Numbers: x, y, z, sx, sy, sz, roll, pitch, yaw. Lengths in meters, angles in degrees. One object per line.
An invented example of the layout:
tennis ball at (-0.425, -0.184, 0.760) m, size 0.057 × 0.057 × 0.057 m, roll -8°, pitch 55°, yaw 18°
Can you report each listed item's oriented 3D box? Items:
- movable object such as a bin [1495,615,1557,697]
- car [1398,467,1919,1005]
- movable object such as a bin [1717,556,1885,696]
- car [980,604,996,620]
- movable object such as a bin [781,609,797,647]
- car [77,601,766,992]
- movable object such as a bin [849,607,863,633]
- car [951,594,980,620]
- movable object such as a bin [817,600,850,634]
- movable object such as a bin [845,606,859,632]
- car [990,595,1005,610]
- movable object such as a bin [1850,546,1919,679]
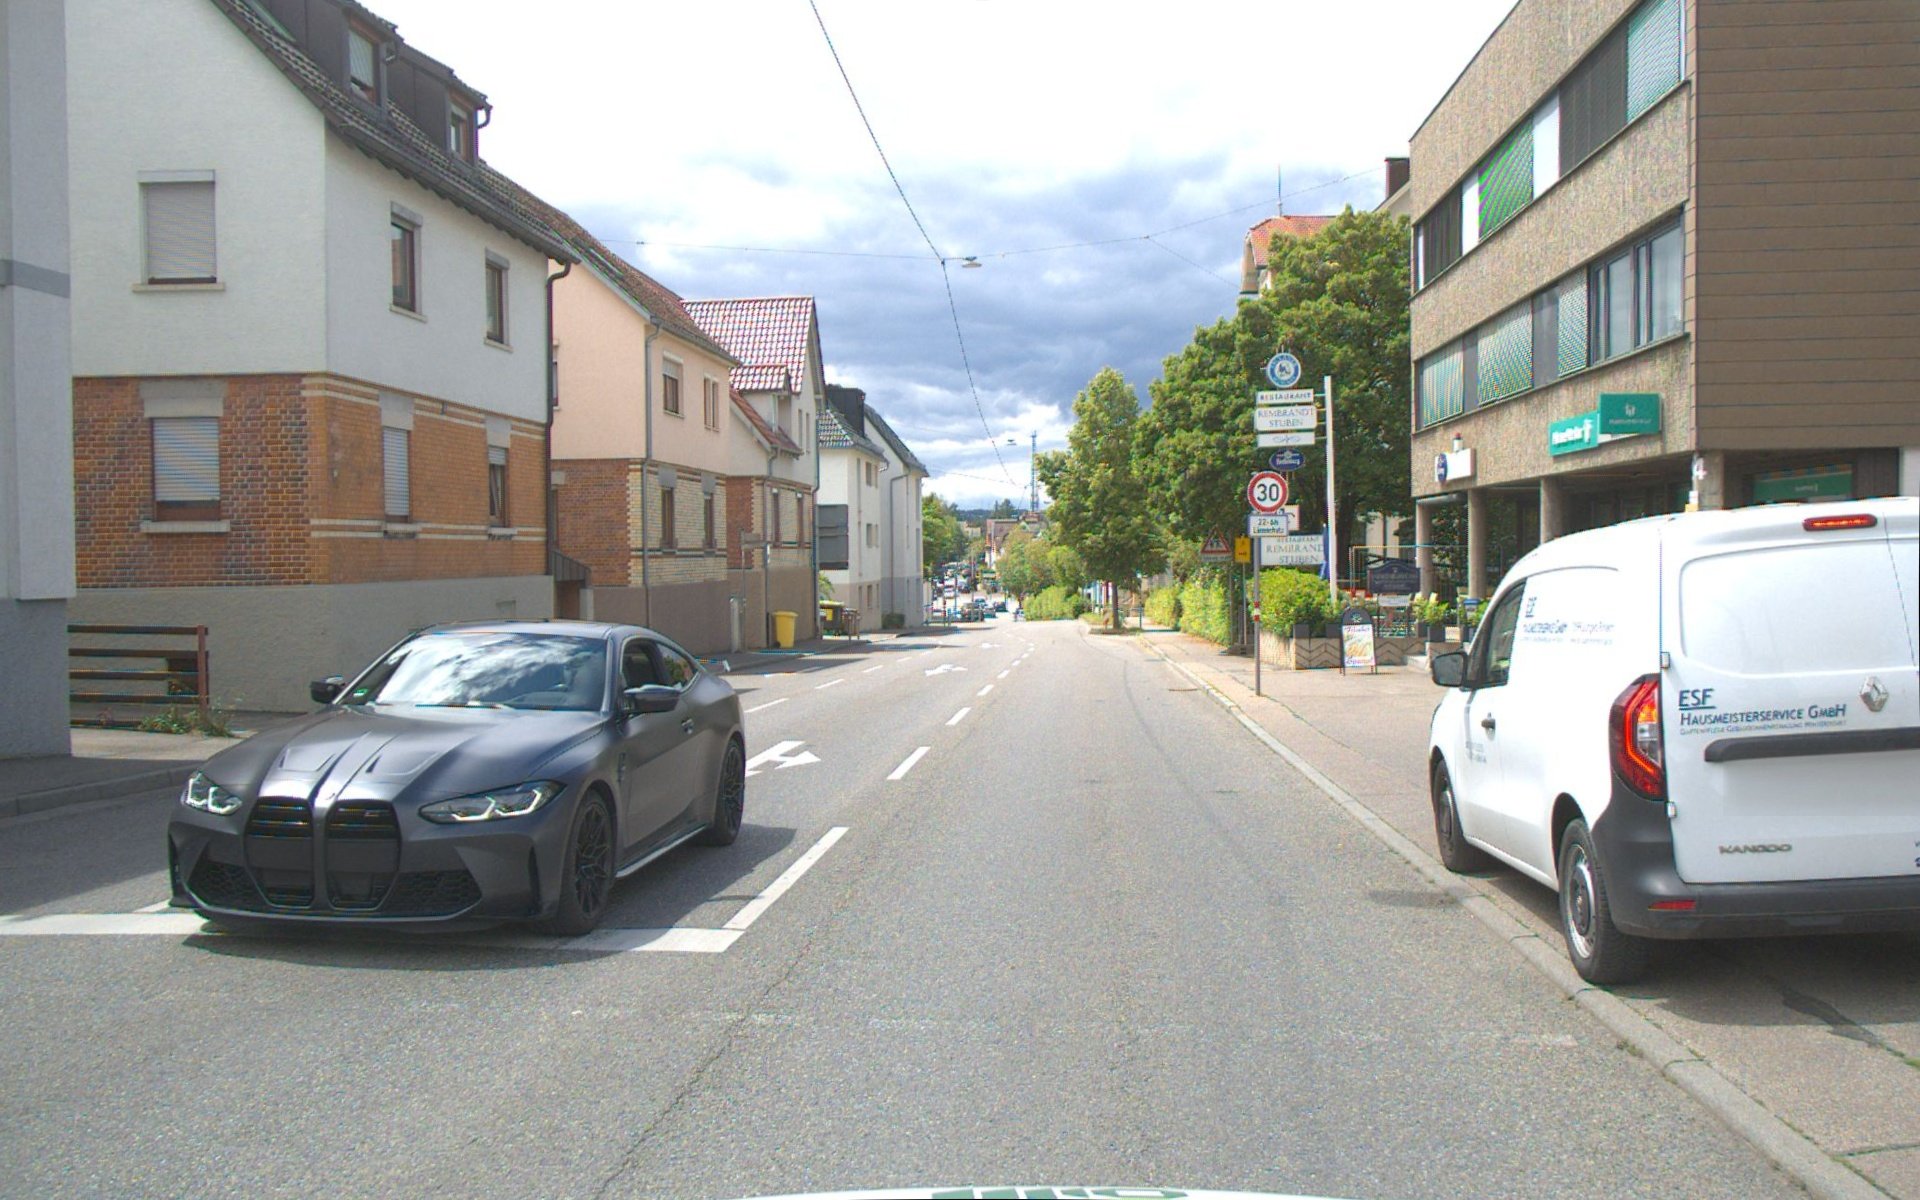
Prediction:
movable object such as a bin at (7.480, 0.736, 21.838) m, size 0.592 × 1.044 × 0.677 m, roll -2°, pitch 0°, yaw 34°
car at (3.523, 0.435, 7.980) m, size 1.871 × 1.825 × 4.493 m, roll -3°, pitch 0°, yaw 5°
movable object such as a bin at (9.794, 0.285, 19.318) m, size 1.451 × 1.518 × 1.077 m, roll -2°, pitch 2°, yaw 7°
car at (3.741, 1.602, 220.588) m, size 1.953 × 2.049 × 4.000 m, roll -2°, pitch 0°, yaw 0°
movable object such as a bin at (-5.243, 0.868, 50.727) m, size 0.422 × 1.147 × 0.299 m, roll -2°, pitch 0°, yaw 3°
car at (-2.482, 0.810, 9.054) m, size 1.952 × 1.482 × 4.620 m, roll -2°, pitch 0°, yaw 4°
movable object such as a bin at (-4.295, 0.816, 68.481) m, size 0.520 × 1.048 × 0.455 m, roll -1°, pitch 0°, yaw 2°
car at (0.455, 0.553, 133.208) m, size 1.955 × 2.049 × 3.996 m, roll -1°, pitch 0°, yaw -5°
movable object such as a bin at (-5.094, 0.666, 66.746) m, size 1.255 × 1.333 × 0.816 m, roll -1°, pitch 0°, yaw -1°
movable object such as a bin at (-4.432, 0.783, 67.922) m, size 0.520 × 1.048 × 0.455 m, roll -1°, pitch 0°, yaw 2°
car at (5.356, 0.411, 236.529) m, size 1.953 × 2.049 × 4.000 m, roll -2°, pitch 0°, yaw 0°
movable object such as a bin at (10.932, 0.128, 19.170) m, size 0.763 × 1.465 × 1.019 m, roll -2°, pitch 2°, yaw 7°
